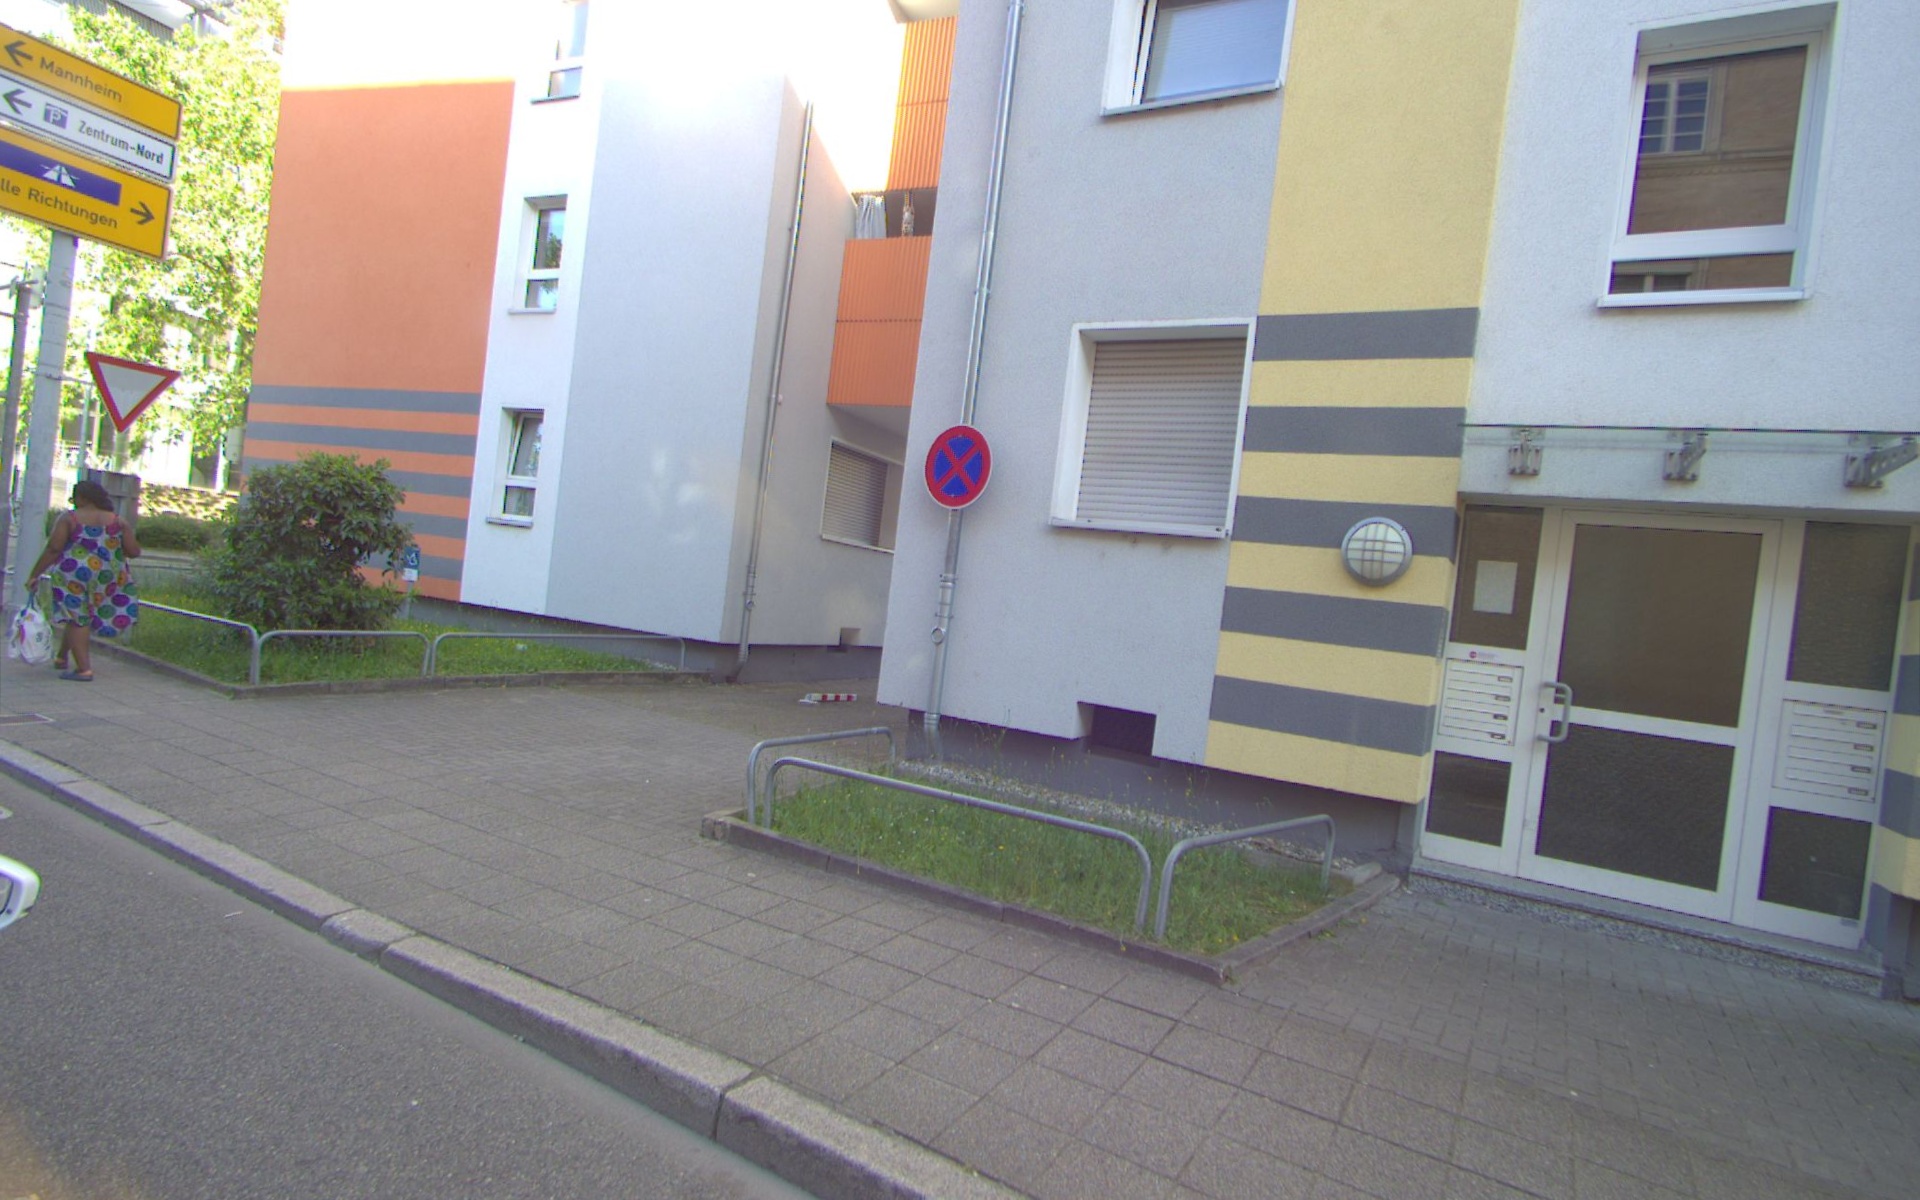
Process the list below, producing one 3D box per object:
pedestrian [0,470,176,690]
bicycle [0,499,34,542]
[{"bbox_3d":[-6.970,-0.167,7.954,0.737,1.595,0.955,7,4,26],"label":"pedestrian"},{"bbox_3d":[-26.408,-2.245,27.279,1.883,1.062,0.463,7,1,-10],"label":"bicycle"}]
